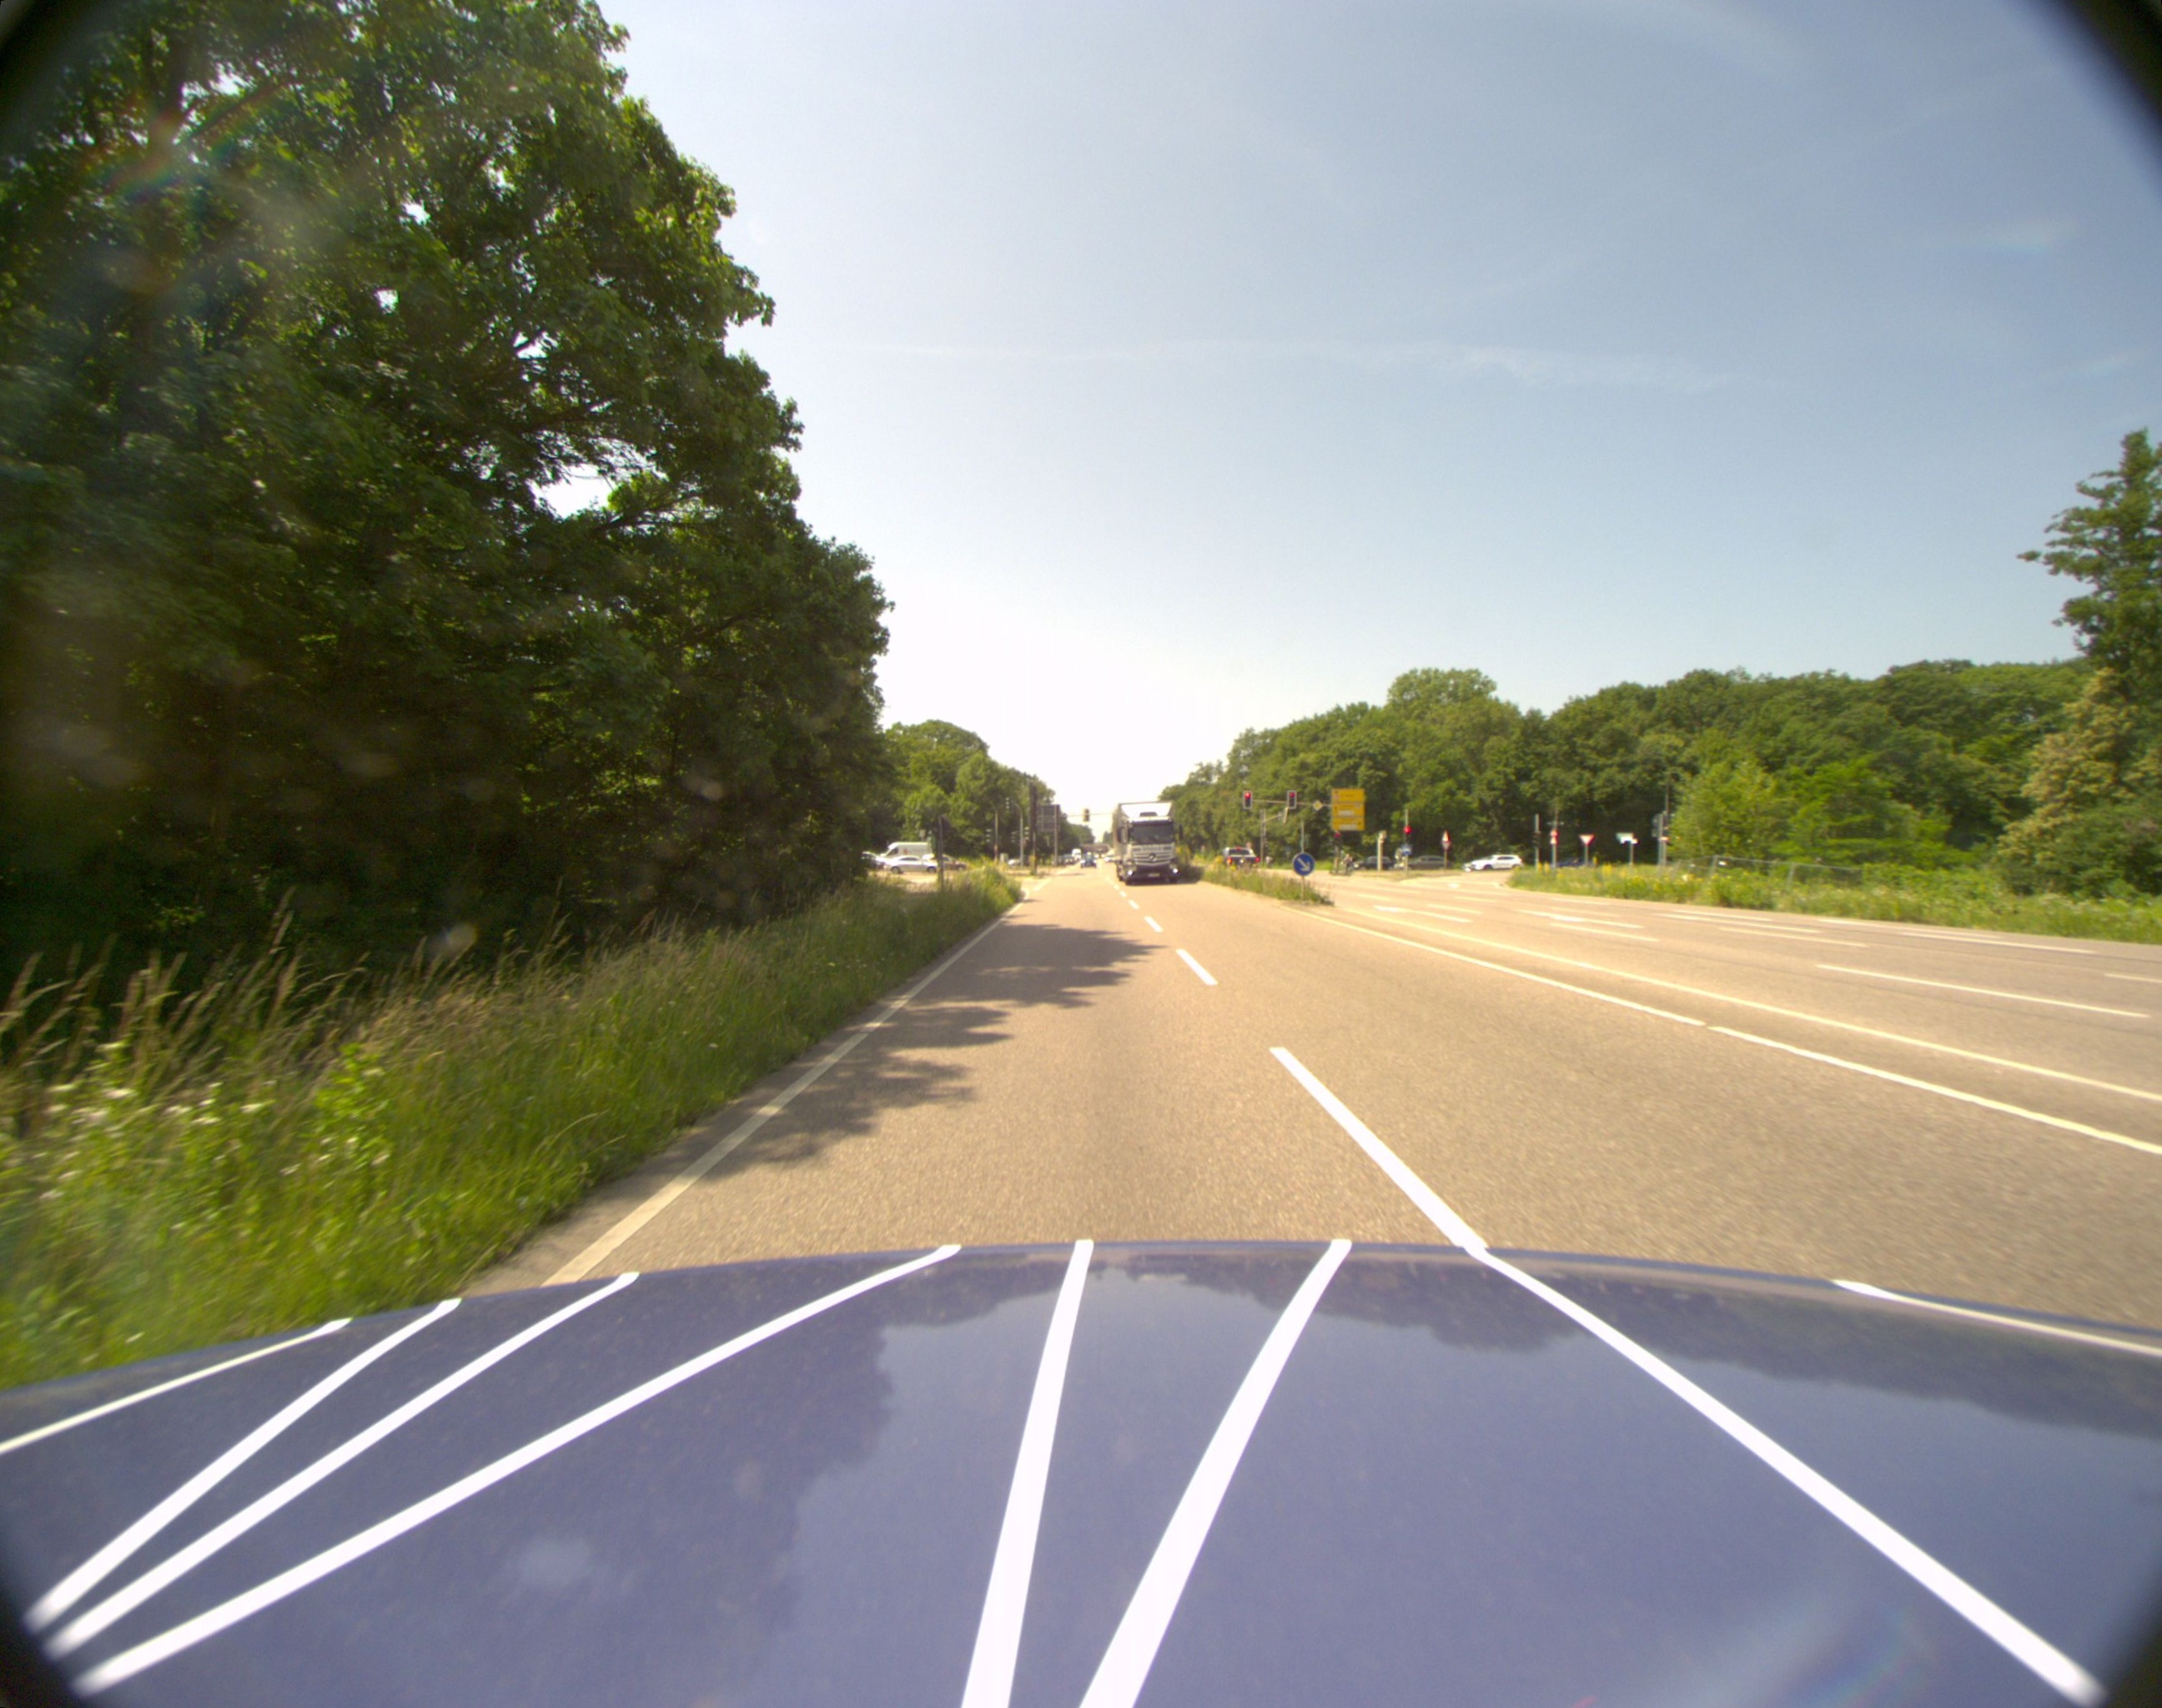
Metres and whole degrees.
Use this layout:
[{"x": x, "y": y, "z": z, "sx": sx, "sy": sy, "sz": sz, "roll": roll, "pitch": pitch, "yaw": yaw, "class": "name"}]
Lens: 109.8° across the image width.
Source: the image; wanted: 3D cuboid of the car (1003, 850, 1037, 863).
[{"x": -7.019, "y": 0.242, "z": 87.804, "sx": 1.792, "sy": 1.452, "sz": 4.237, "roll": 1, "pitch": 0, "yaw": 33, "class": "car"}]

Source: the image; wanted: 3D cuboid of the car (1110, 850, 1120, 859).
[{"x": 7.155, "y": 0.030, "z": 159.225, "sx": 1.998, "sy": 1.867, "sz": 4.000, "roll": 1, "pitch": 0, "yaw": 1, "class": "car"}]

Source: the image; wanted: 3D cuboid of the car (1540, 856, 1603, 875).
[{"x": 47.588, "y": 1.095, "z": 73.739, "sx": 4.817, "sy": 1.747, "sz": 2.000, "roll": 0, "pitch": 0, "yaw": 0, "class": "car"}]

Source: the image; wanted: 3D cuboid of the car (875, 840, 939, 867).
[{"x": -17.847, "y": -0.054, "z": 78.227, "sx": 6.068, "sy": 2.629, "sz": 1.972, "roll": -1, "pitch": 0, "yaw": -27, "class": "car"}]

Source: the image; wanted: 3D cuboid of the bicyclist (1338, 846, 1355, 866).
[{"x": 19.658, "y": 0.148, "z": 56.251, "sx": 0.924, "sy": 1.451, "sz": 0.718, "roll": 1, "pitch": 1, "yaw": 39, "class": "bicyclist"}]

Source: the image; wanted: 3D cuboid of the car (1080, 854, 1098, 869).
[{"x": 0.865, "y": 0.760, "z": 83.584, "sx": 1.992, "sy": 1.575, "sz": 4.364, "roll": 0, "pitch": 0, "yaw": 0, "class": "car"}]

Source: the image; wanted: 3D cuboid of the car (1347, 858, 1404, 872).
[{"x": 28.654, "y": 1.091, "z": 74.048, "sx": 4.816, "sy": 1.283, "sz": 2.106, "roll": 0, "pitch": 0, "yaw": 2, "class": "car"}]

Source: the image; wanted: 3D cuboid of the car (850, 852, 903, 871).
[{"x": -18.240, "y": 0.644, "z": 68.040, "sx": 4.182, "sy": 1.649, "sz": 2.000, "roll": 0, "pitch": 0, "yaw": 1, "class": "car"}]

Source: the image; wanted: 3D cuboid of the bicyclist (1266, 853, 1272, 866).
[{"x": 21.446, "y": 0.612, "z": 86.670, "sx": 0.660, "sy": 1.456, "sz": 0.810, "roll": 0, "pitch": 1, "yaw": 10, "class": "bicyclist"}]

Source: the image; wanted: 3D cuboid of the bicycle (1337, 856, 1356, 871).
[{"x": 19.631, "y": 0.698, "z": 56.238, "sx": 0.722, "sy": 1.057, "sz": 1.873, "roll": 1, "pitch": 0, "yaw": 39, "class": "bicycle"}]

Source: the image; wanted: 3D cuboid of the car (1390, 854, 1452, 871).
[{"x": 31.316, "y": 0.767, "z": 70.051, "sx": 4.817, "sy": 1.509, "sz": 1.862, "roll": 0, "pitch": 0, "yaw": 0, "class": "car"}]

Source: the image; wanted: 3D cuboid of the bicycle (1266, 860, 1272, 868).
[{"x": 21.434, "y": 1.165, "z": 86.664, "sx": 0.566, "sy": 0.918, "sz": 1.606, "roll": 0, "pitch": 0, "yaw": 11, "class": "bicycle"}]

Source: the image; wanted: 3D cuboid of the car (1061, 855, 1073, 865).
[{"x": -2.028, "y": 0.822, "z": 111.140, "sx": 1.796, "sy": 1.431, "sz": 4.228, "roll": 0, "pitch": 0, "yaw": 0, "class": "car"}]

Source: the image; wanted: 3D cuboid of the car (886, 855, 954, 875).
[{"x": -12.841, "y": 0.873, "z": 60.755, "sx": 4.943, "sy": 1.490, "sz": 2.020, "roll": 0, "pitch": 1, "yaw": 2, "class": "car"}]

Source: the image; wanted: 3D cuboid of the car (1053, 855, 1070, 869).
[{"x": -2.447, "y": 1.045, "z": 97.696, "sx": 1.740, "sy": 1.681, "sz": 3.736, "roll": -1, "pitch": 1, "yaw": 4, "class": "car"}]

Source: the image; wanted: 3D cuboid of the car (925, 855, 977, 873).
[{"x": -10.970, "y": 0.856, "z": 64.303, "sx": 4.102, "sy": 1.438, "sz": 1.995, "roll": 0, "pitch": 0, "yaw": -1, "class": "car"}]

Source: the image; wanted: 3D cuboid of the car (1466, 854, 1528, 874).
[{"x": 40.445, "y": 0.921, "z": 73.954, "sx": 4.816, "sy": 1.884, "sz": 2.066, "roll": 0, "pitch": 0, "yaw": 2, "class": "car"}]

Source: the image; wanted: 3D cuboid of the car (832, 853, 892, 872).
[{"x": -18.682, "y": 0.746, "z": 64.984, "sx": 4.430, "sy": 1.526, "sz": 2.122, "roll": 0, "pitch": 1, "yaw": 1, "class": "car"}]

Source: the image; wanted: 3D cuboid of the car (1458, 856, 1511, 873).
[{"x": 40.988, "y": 1.036, "z": 77.297, "sx": 4.409, "sy": 1.626, "sz": 1.872, "roll": 0, "pitch": 0, "yaw": 0, "class": "car"}]

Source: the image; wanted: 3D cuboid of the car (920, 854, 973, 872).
[{"x": -12.021, "y": 0.810, "z": 68.179, "sx": 4.431, "sy": 1.526, "sz": 2.000, "roll": 0, "pitch": 0, "yaw": 0, "class": "car"}]

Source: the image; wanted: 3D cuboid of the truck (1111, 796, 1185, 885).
[{"x": 3.174, "y": -0.603, "z": 39.195, "sx": 2.753, "sy": 3.862, "sz": 11.320, "roll": -1, "pitch": 0, "yaw": 0, "class": "truck"}]

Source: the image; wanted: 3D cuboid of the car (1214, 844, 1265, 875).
[{"x": 9.208, "y": 0.304, "z": 44.670, "sx": 1.998, "sy": 1.668, "sz": 5.366, "roll": 1, "pitch": 0, "yaw": 2, "class": "car"}]

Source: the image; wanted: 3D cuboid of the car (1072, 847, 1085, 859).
[{"x": -0.608, "y": -0.148, "z": 176.220, "sx": 2.673, "sy": 2.685, "sz": 6.331, "roll": 1, "pitch": 0, "yaw": 3, "class": "car"}]
